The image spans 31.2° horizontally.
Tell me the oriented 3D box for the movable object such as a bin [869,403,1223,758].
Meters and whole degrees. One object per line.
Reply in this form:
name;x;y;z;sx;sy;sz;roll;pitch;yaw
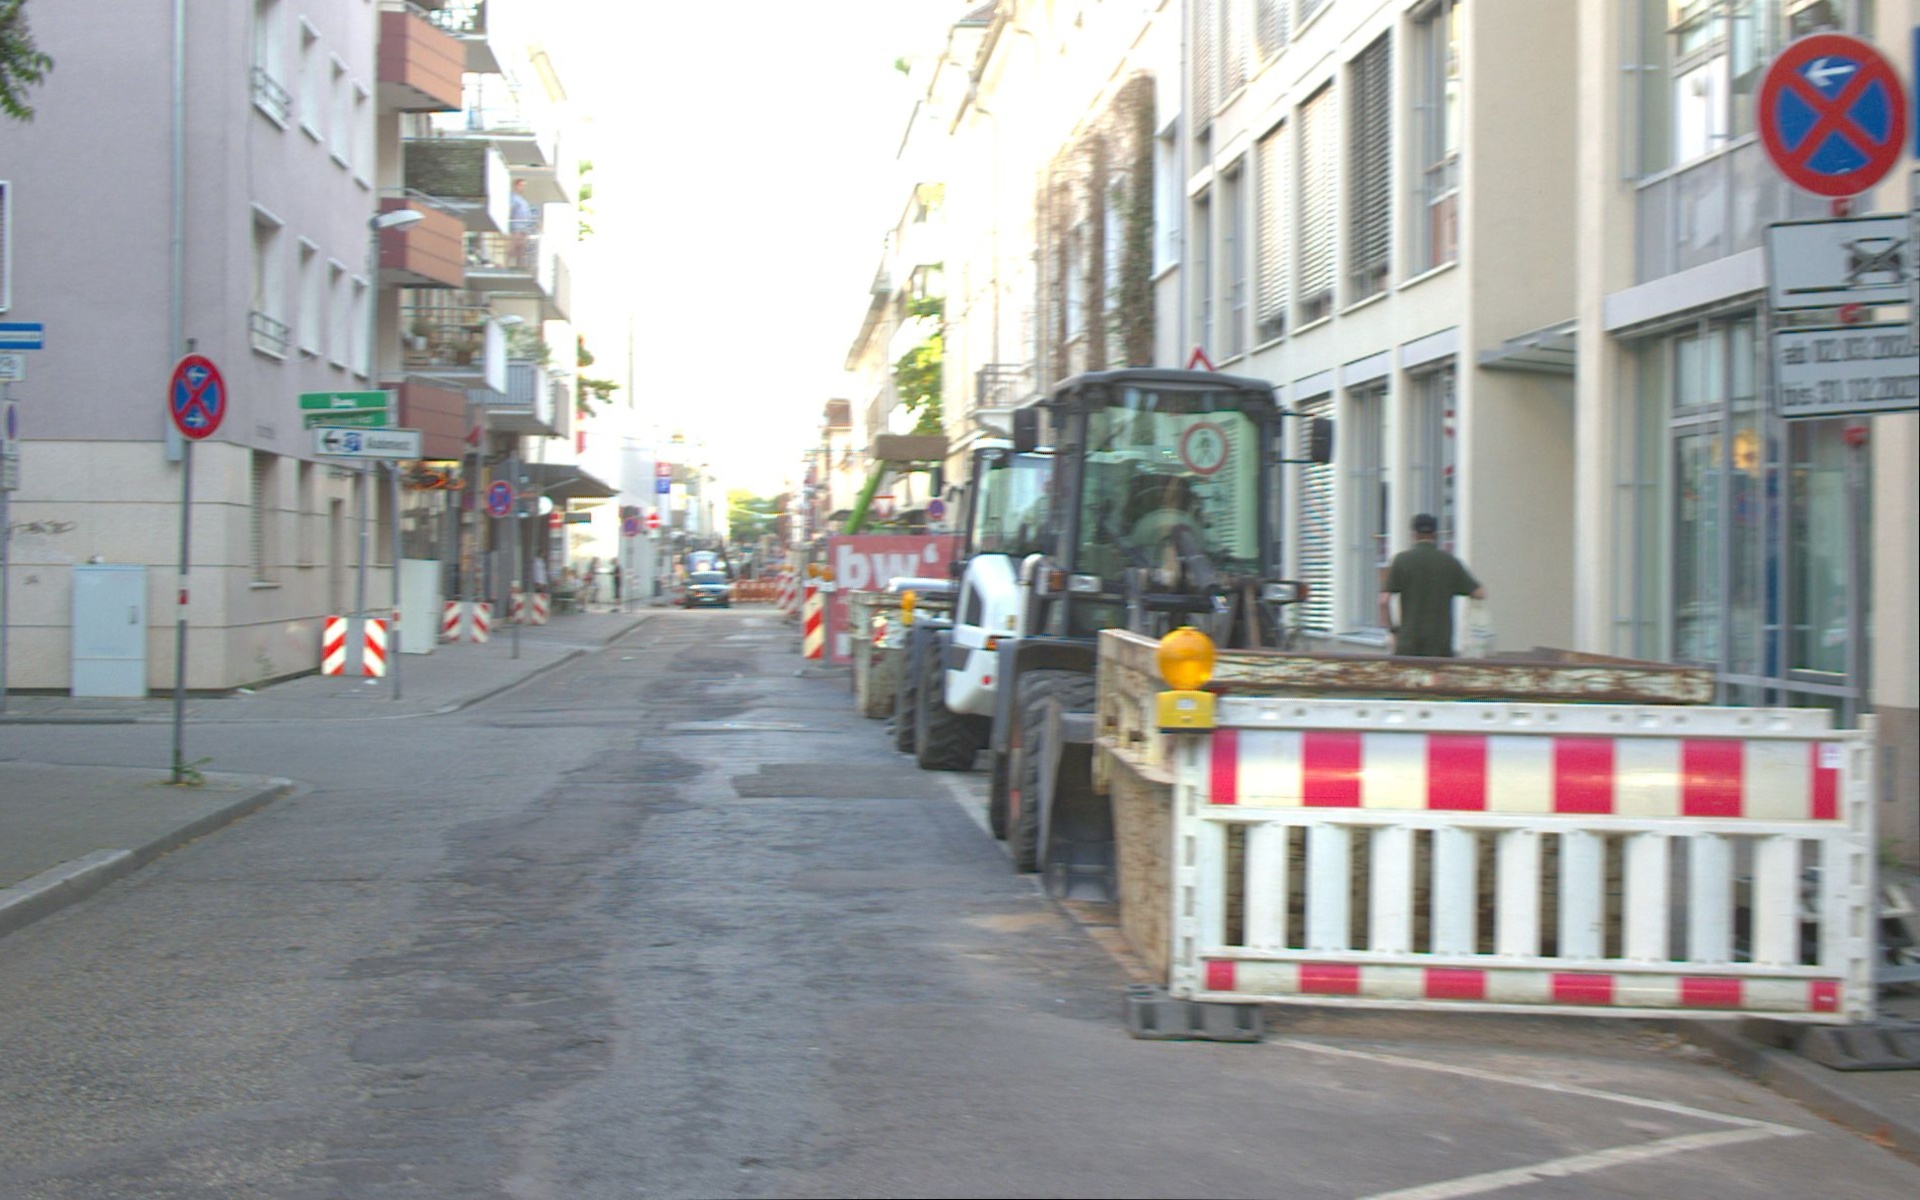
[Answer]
movable object such as a bin;0.569;-0.160;26.676;2.276;2.531;4.098;0;1;-5

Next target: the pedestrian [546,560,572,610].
pedestrian;-11.489;-0.425;98.525;0.664;1.433;0.533;0;1;0

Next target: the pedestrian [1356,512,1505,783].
pedestrian;3.258;0.317;23.883;0.887;1.844;0.876;0;1;-1

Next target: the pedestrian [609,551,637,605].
pedestrian;-10.270;-0.671;104.791;0.797;1.655;0.744;0;1;0

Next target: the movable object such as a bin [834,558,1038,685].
movable object such as a bin;-0.336;0.218;40.190;2.045;1.406;3.975;0;1;-5

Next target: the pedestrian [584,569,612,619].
pedestrian;-11.541;-0.198;109.590;0.797;1.588;0.744;0;0;0

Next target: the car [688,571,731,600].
car;-9.838;-0.577;134.921;1.536;1.130;3.122;0;1;-7

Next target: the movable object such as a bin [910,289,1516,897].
movable object such as a bin;1.092;-0.065;18.088;2.276;2.683;5.650;0;1;-5
